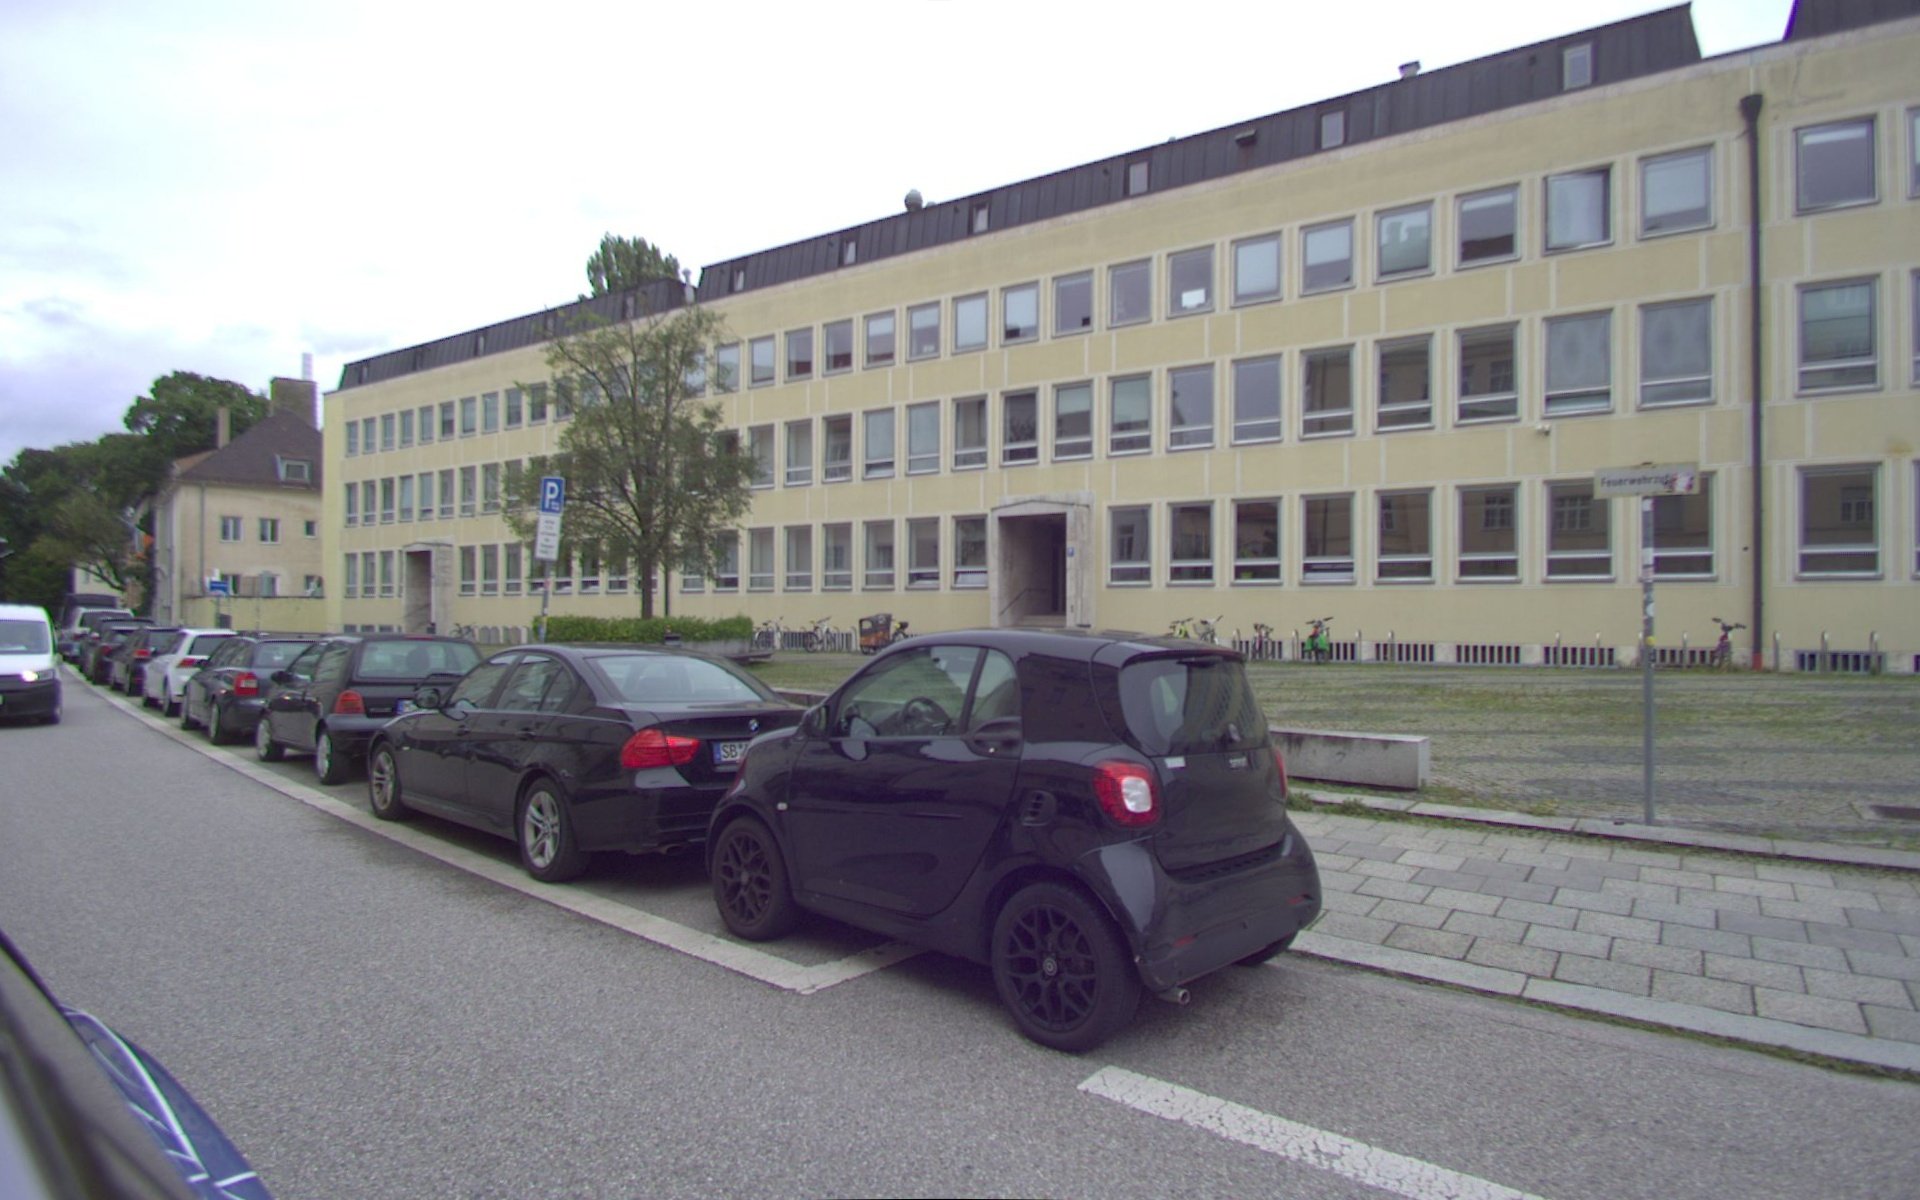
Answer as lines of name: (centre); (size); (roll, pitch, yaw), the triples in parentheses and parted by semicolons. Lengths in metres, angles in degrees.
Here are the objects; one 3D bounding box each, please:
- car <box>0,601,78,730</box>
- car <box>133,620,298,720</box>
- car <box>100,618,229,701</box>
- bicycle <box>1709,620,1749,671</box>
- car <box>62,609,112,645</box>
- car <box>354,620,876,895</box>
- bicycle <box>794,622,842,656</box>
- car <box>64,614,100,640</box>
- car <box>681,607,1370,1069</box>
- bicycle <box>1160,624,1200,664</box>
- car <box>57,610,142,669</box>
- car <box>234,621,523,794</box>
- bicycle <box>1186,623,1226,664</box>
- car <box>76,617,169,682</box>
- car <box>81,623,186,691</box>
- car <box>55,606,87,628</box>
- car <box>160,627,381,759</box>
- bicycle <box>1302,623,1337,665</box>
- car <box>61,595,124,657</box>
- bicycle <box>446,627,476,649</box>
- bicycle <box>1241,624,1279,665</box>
car: (-15.096, 0.913, 15.742); (1.857, 1.785, 4.929); (2, -2, -43)
car: (-13.324, 1.156, 18.031); (4.001, 1.541, 1.702); (0, -2, 44)
car: (-17.551, 1.224, 22.261); (4.085, 1.557, 1.720); (0, 1, 45)
bicycle: (15.677, 0.901, 20.662); (0.436, 0.924, 1.887); (-1, 1, 31)
car: (-55.221, 1.651, 63.956); (2.183, 2.098, 4.965); (-2, 1, -43)
car: (-2.690, 0.891, 7.320); (4.212, 1.374, 1.703); (0, -3, 42)
bicycle: (-4.722, 1.280, 33.834); (0.573, 1.036, 1.818); (-1, 1, 30)
car: (-76.646, 2.281, 88.308); (2.183, 2.098, 4.965); (-2, 1, -43)
car: (0.200, 0.805, 4.834); (2.868, 1.471, 1.648); (0, -3, 43)
bicycle: (5.769, 1.140, 26.453); (0.436, 0.924, 1.887); (-1, 1, 31)
car: (-31.454, 1.394, 36.954); (4.357, 1.991, 1.922); (0, -2, 45)
car: (-6.350, 1.003, 10.881); (3.755, 1.492, 1.702); (0, -2, 44)
bicycle: (6.352, 1.104, 26.092); (0.436, 0.924, 1.887); (-1, 1, 31)
car: (-24.344, 1.394, 29.370); (1.720, 1.701, 4.125); (3, -2, -44)
car: (-20.976, 1.370, 25.643); (1.720, 1.478, 3.688); (-2, 1, -44)
car: (-87.829, 1.657, 99.989); (2.183, 2.098, 4.965); (-2, 1, -43)
car: (-9.640, 1.157, 14.014); (4.206, 1.492, 1.702); (0, -2, 44)
bicycle: (8.756, 1.049, 24.596); (0.436, 0.924, 1.887); (-1, 1, 31)
car: (-40.091, 1.155, 46.737); (1.970, 2.738, 4.965); (1, -1, -43)
bicycle: (-22.461, 1.699, 45.547); (0.288, 0.909, 1.230); (-1, 1, 32)
bicycle: (7.544, 1.101, 25.386); (0.436, 0.924, 1.887); (-1, 1, 31)
